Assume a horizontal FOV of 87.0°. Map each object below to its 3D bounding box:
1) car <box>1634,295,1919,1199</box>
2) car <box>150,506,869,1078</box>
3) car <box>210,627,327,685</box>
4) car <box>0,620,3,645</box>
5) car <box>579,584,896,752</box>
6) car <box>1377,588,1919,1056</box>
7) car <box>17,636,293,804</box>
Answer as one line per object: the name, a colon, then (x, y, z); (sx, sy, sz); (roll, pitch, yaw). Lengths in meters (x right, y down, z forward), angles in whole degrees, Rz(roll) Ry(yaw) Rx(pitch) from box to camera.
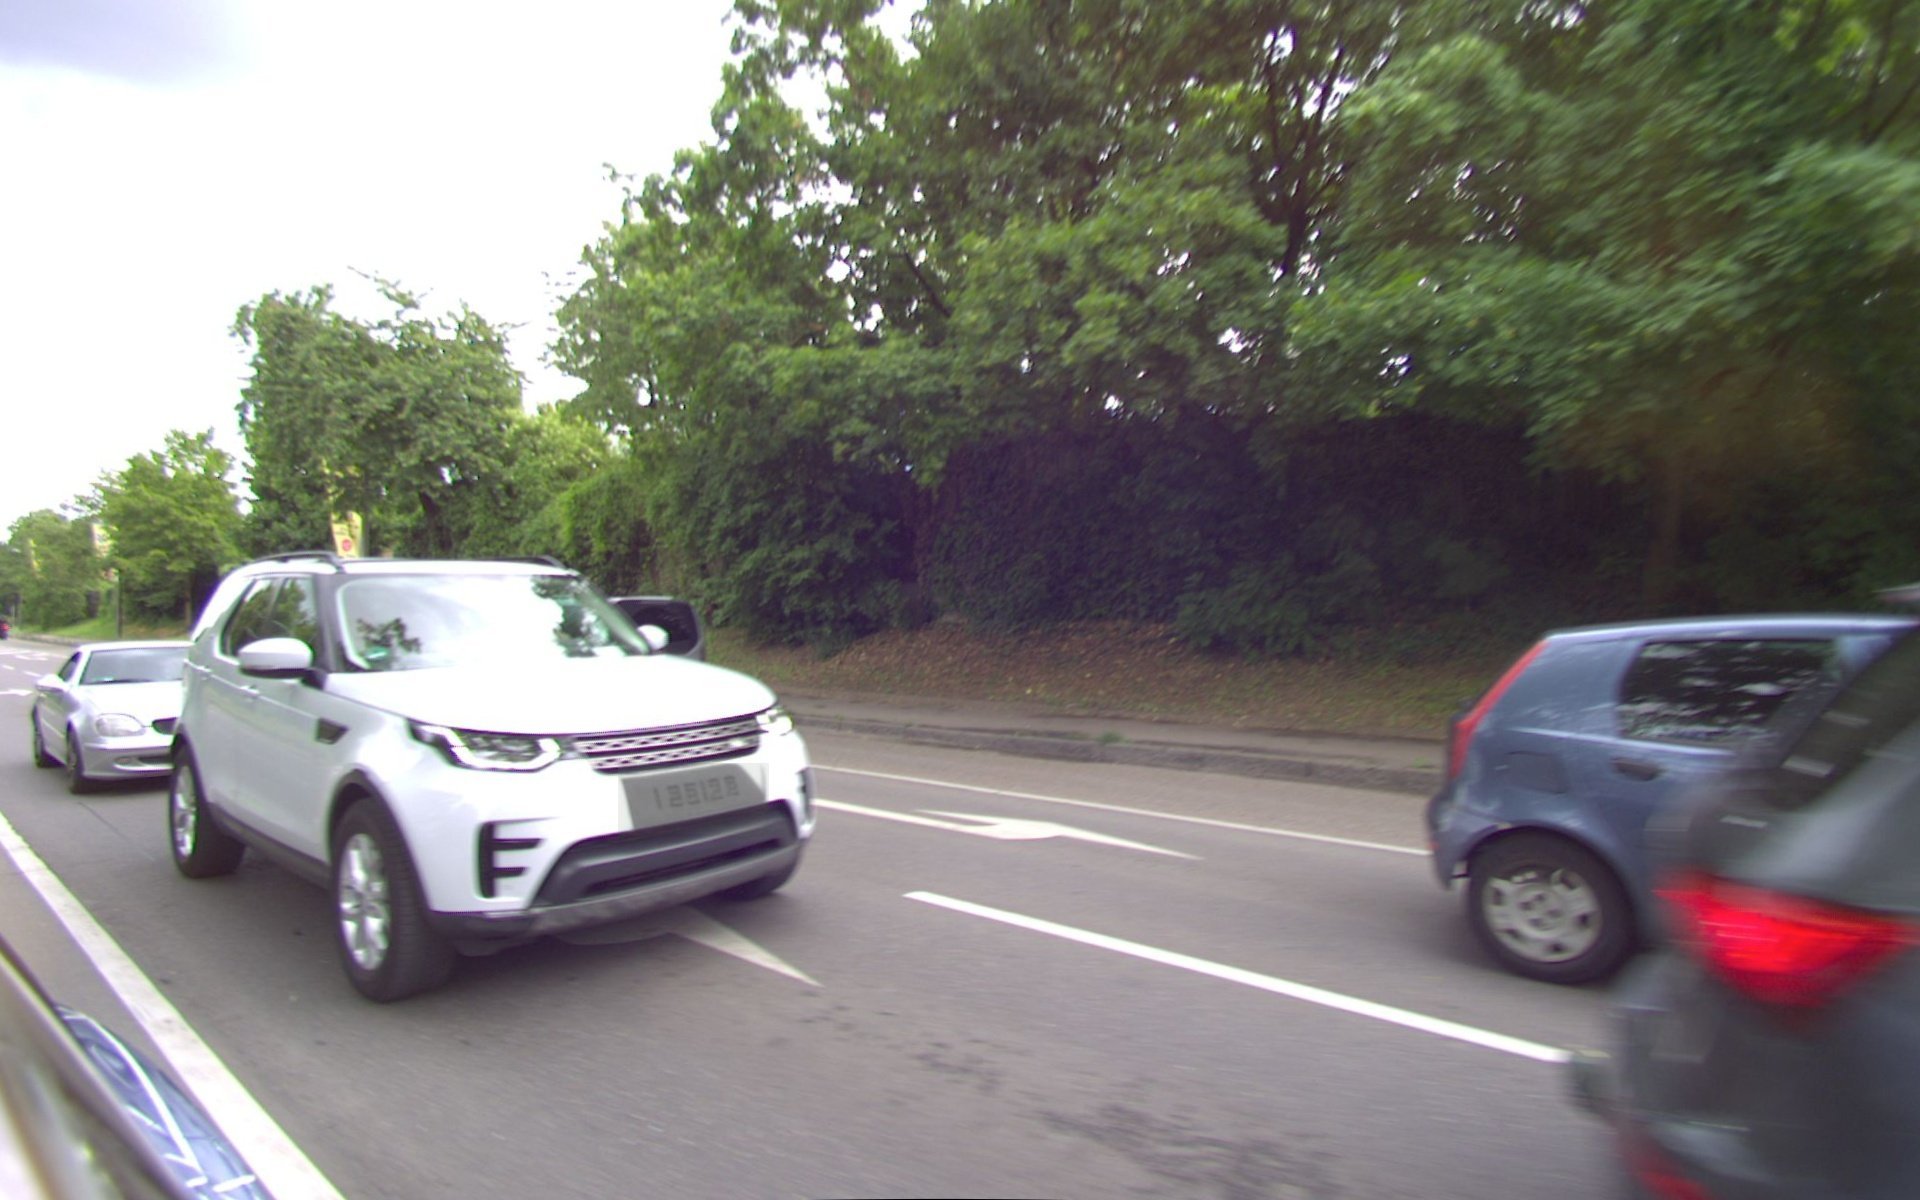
car: (3.122, 0.487, 0.607); (4.332, 1.731, 1.733); (-1, -1, 41)
car: (-2.687, 0.615, 5.373); (4.502, 1.808, 1.784); (-1, 0, 42)
car: (-18.334, 1.445, 26.775); (3.831, 1.406, 1.613); (-2, -3, 41)
car: (-76.020, 2.473, 78.684); (4.686, 1.919, 1.784); (-1, -3, 41)
car: (-3.030, 0.810, 13.251); (4.407, 1.845, 1.773); (-1, -2, 41)
car: (3.771, 0.719, 3.612); (3.929, 1.479, 1.574); (-1, -3, 43)
car: (-8.029, 1.024, 9.975); (3.822, 1.276, 1.538); (-1, -1, 42)
